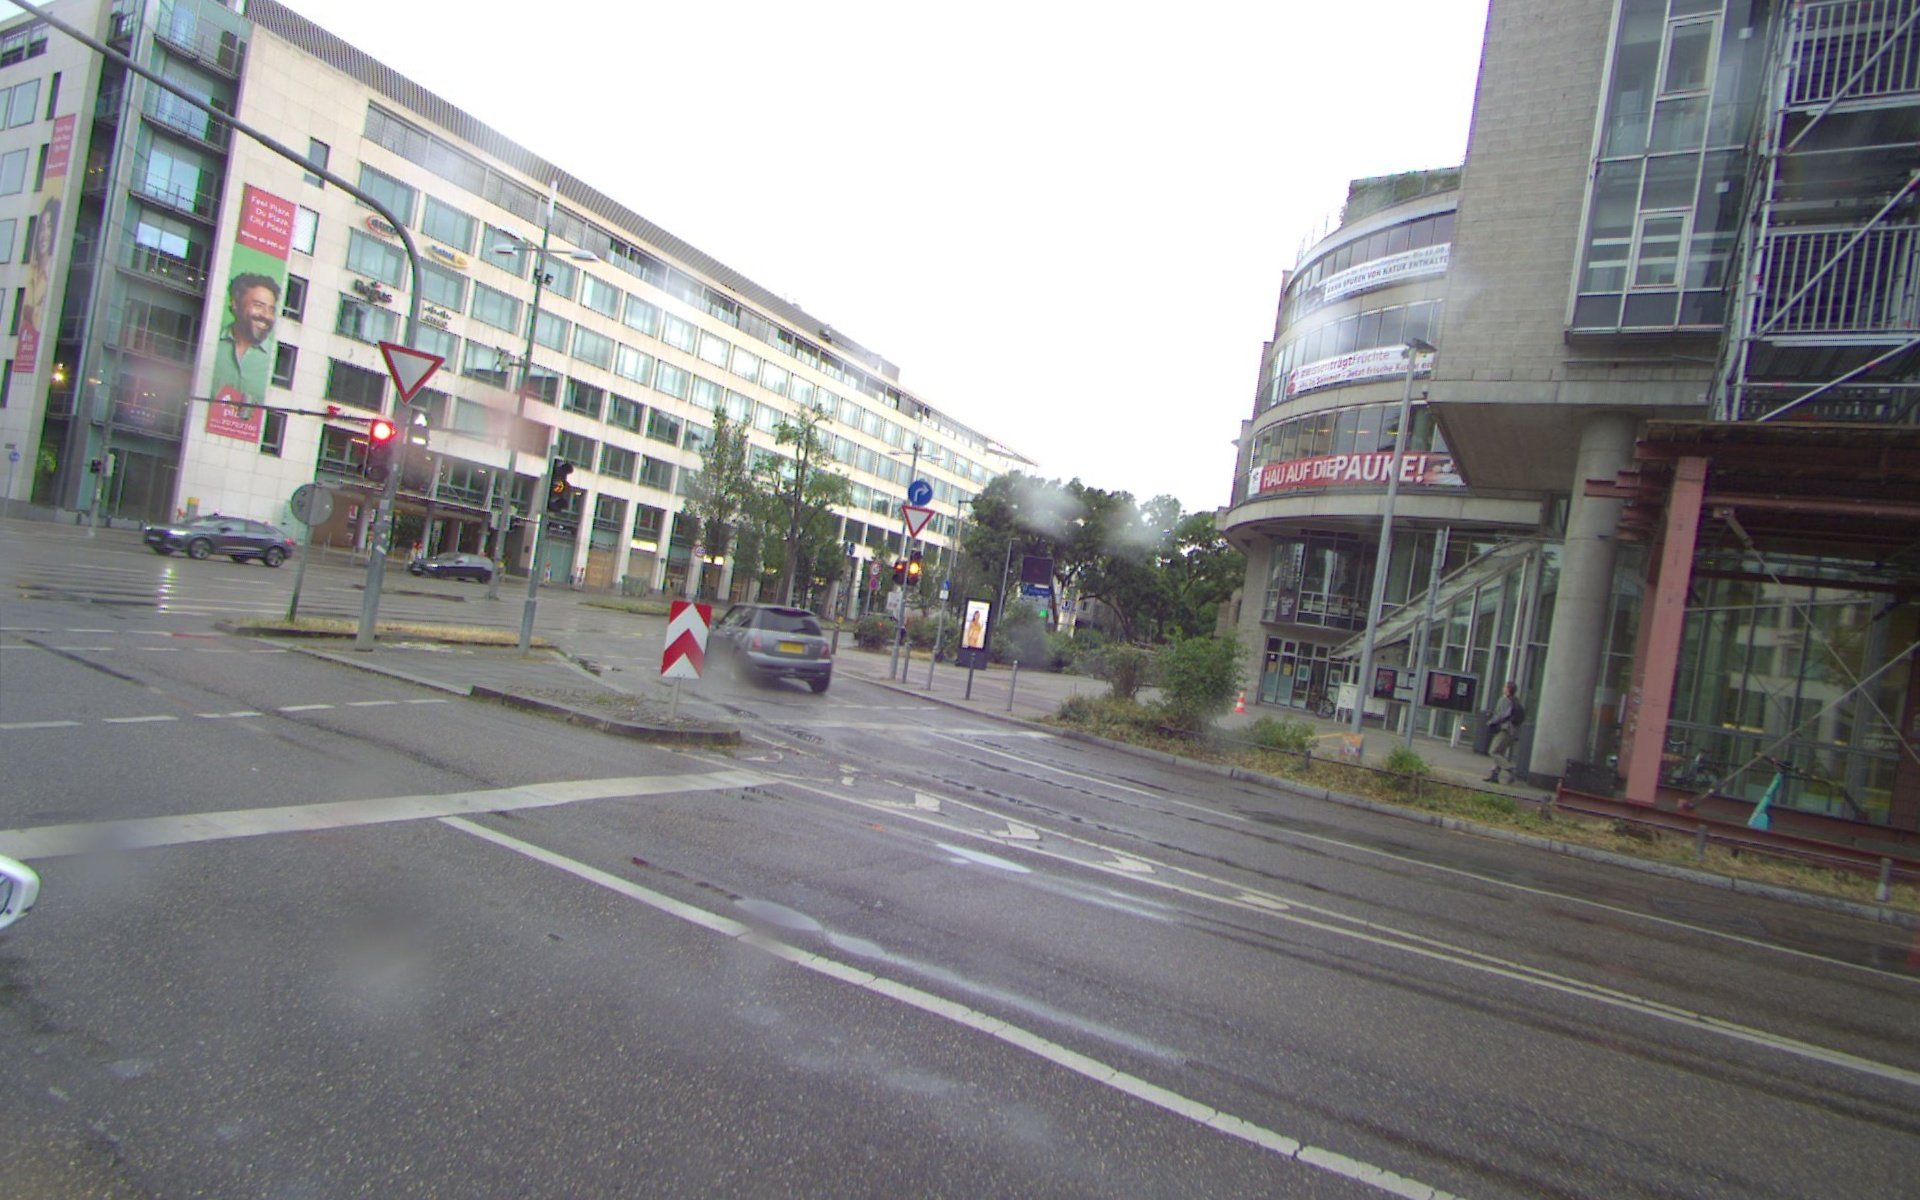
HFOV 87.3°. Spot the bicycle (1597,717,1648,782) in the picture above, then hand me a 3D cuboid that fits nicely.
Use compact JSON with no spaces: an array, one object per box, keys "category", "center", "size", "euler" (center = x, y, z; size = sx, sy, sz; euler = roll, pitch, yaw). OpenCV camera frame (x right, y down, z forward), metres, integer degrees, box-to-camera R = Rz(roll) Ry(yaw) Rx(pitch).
[{"category":"bicycle","center":[13.736,3.072,20.888],"size":[0.576,1.208,1.614],"euler":[7,-2,27]}]

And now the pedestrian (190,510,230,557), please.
[{"category":"pedestrian","center":[-32.279,-2.844,43.313],"size":[0.822,1.838,0.963],"euler":[6,-1,31]}]

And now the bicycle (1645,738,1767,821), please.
[{"category":"bicycle","center":[13.495,3.228,18.227],"size":[1.584,1.208,0.587],"euler":[7,-1,6]}]

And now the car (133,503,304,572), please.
[{"category":"car","center":[-25.665,-2.109,35.043],"size":[1.797,1.627,4.494],"euler":[7,-2,16]}]

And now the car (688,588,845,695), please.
[{"category":"car","center":[-3.645,0.697,18.481],"size":[1.725,1.473,3.696],"euler":[8,-1,-27]}]

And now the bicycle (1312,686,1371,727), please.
[{"category":"bicycle","center":[13.463,3.752,35.529],"size":[1.753,1.208,0.586],"euler":[6,-1,29]}]

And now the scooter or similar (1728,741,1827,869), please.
[{"category":"scooter or similar","center":[9.231,2.272,11.416],"size":[0.577,1.208,1.780],"euler":[7,-1,34]}]

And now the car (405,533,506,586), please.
[{"category":"car","center":[-26.271,-2.069,52.574],"size":[1.521,2.036,4.670],"euler":[7,-2,23]}]

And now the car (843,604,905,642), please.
[{"category":"car","center":[-4.652,1.299,55.076],"size":[1.898,1.715,4.004],"euler":[7,-1,16]}]

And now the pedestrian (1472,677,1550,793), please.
[{"category":"pedestrian","center":[9.245,2.240,16.905],"size":[0.776,1.796,0.781],"euler":[7,-1,13]}]
